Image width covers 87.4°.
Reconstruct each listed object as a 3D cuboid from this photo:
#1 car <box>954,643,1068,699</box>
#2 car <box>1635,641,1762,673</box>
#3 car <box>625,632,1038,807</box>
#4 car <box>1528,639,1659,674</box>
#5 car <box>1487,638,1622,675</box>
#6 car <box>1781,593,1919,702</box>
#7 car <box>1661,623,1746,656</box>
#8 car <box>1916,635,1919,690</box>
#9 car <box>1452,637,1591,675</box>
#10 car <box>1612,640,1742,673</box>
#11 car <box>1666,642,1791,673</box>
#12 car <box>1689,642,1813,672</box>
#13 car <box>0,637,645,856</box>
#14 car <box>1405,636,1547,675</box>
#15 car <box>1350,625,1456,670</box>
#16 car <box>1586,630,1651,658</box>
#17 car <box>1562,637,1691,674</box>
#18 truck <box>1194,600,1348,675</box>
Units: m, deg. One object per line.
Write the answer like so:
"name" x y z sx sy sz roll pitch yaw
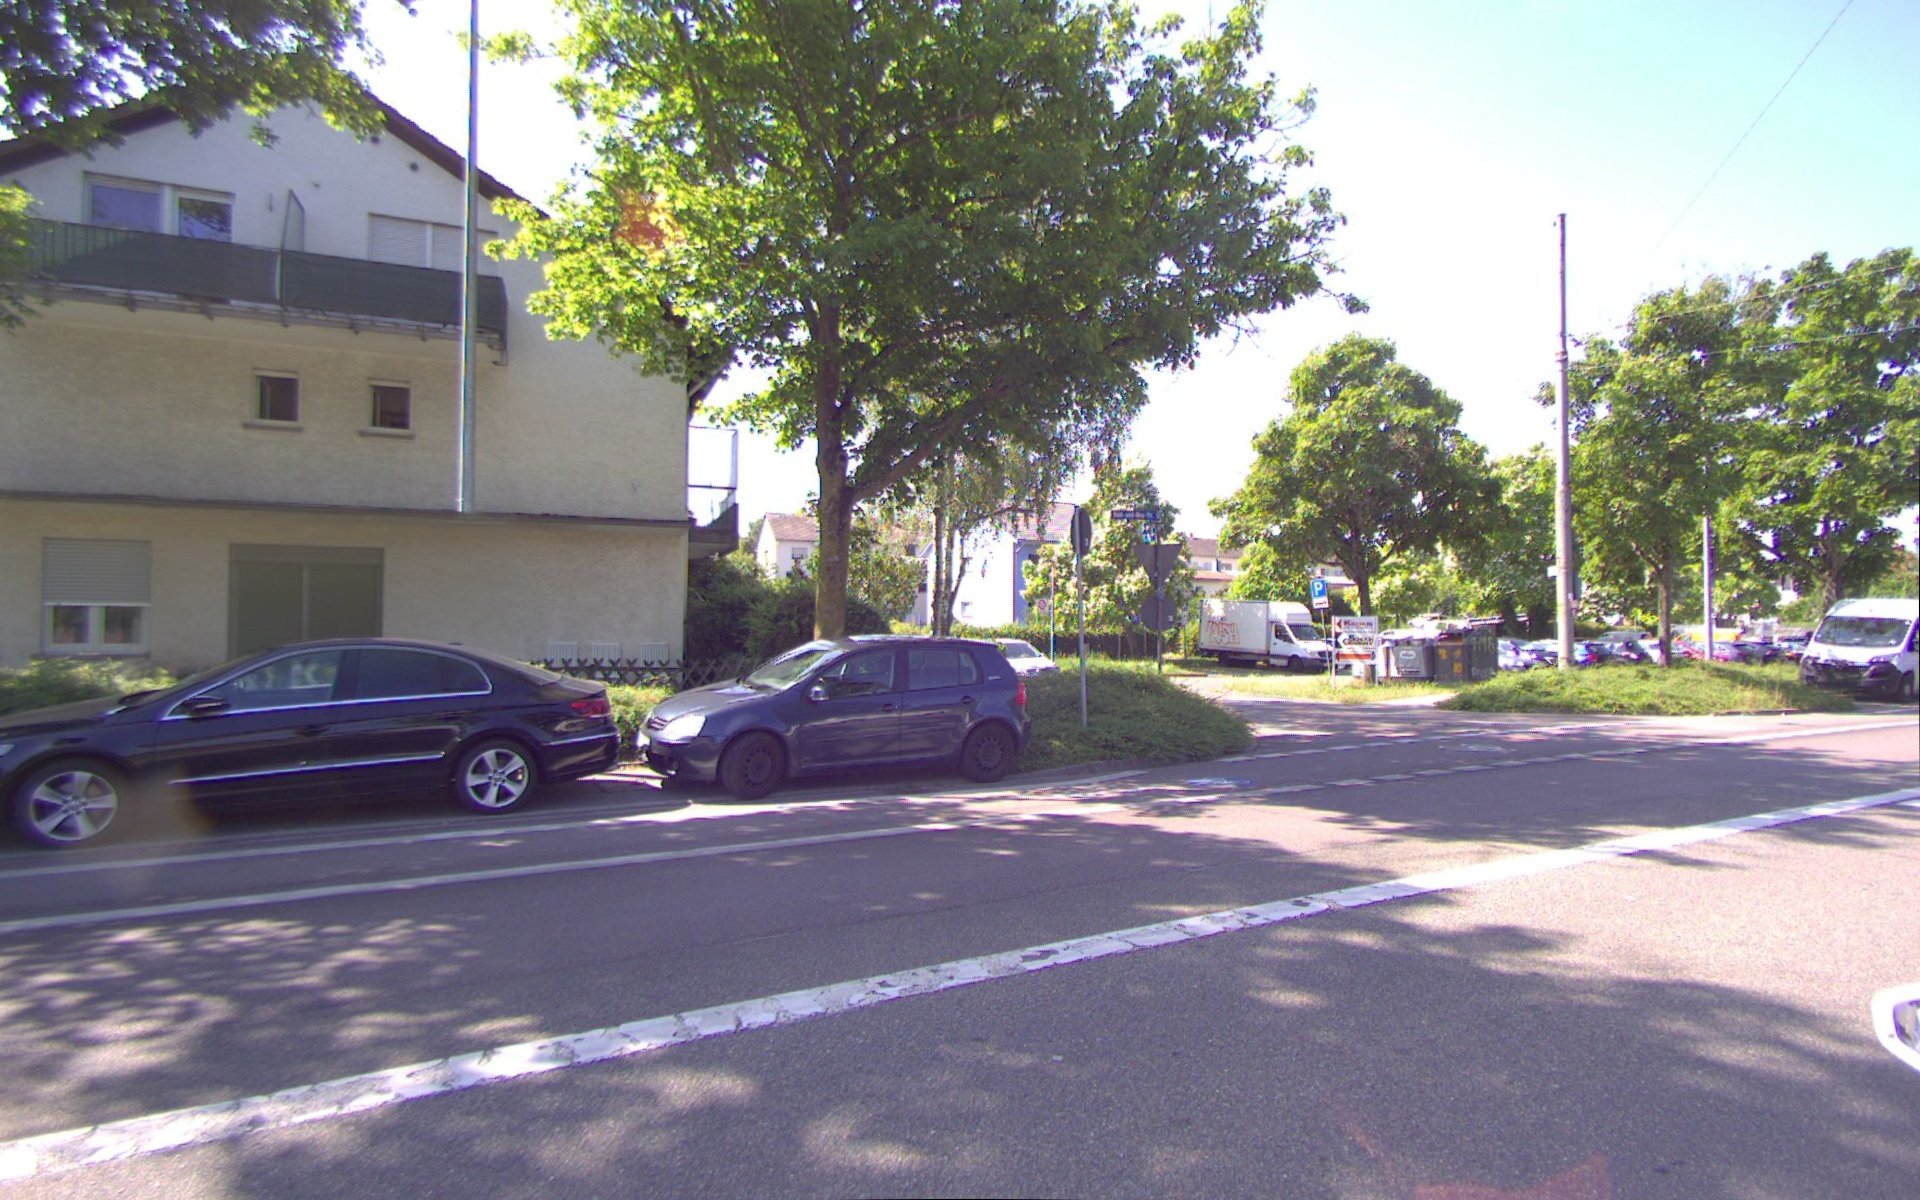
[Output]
"car" 1.360 1.947 28.422 1.687 1.437 3.979 1 -2 -23
"car" 31.064 2.360 42.355 1.748 1.241 3.973 1 -2 -27
"car" -1.290 1.116 10.487 3.956 1.470 1.634 2 0 -29
"car" 24.384 2.140 38.802 1.748 1.241 3.973 1 -2 -27
"car" 21.771 2.037 36.953 1.748 1.241 3.973 1 -2 -27
"car" 23.990 1.162 25.907 6.227 2.534 2.050 1 1 -28
"car" 50.662 2.648 68.503 1.981 2.040 4.228 2 0 -35
"car" 29.363 1.788 28.731 4.148 1.536 1.835 1 -2 -30
"car" 19.716 1.941 35.410 1.751 1.241 3.967 1 -2 -31
"car" 29.062 2.260 40.831 1.748 1.281 3.973 1 -2 -27
"car" 33.294 2.452 43.616 1.748 1.241 3.973 1 -2 -27
"car" 35.243 2.517 44.860 1.748 1.241 3.973 1 -2 -27
"car" -5.225 1.036 8.343 4.727 1.398 1.682 1 0 -31
"car" 17.411 1.848 34.061 1.751 1.241 3.967 1 -2 -31
"car" 22.854 2.436 51.998 1.980 2.040 4.663 2 0 -34
"car" 44.891 2.989 68.533 1.535 1.901 3.406 1 -2 -31
"car" 26.600 2.191 40.197 1.748 1.368 3.973 1 -2 -27
"truck" 14.276 1.626 46.724 2.206 3.059 7.103 1 1 -31
